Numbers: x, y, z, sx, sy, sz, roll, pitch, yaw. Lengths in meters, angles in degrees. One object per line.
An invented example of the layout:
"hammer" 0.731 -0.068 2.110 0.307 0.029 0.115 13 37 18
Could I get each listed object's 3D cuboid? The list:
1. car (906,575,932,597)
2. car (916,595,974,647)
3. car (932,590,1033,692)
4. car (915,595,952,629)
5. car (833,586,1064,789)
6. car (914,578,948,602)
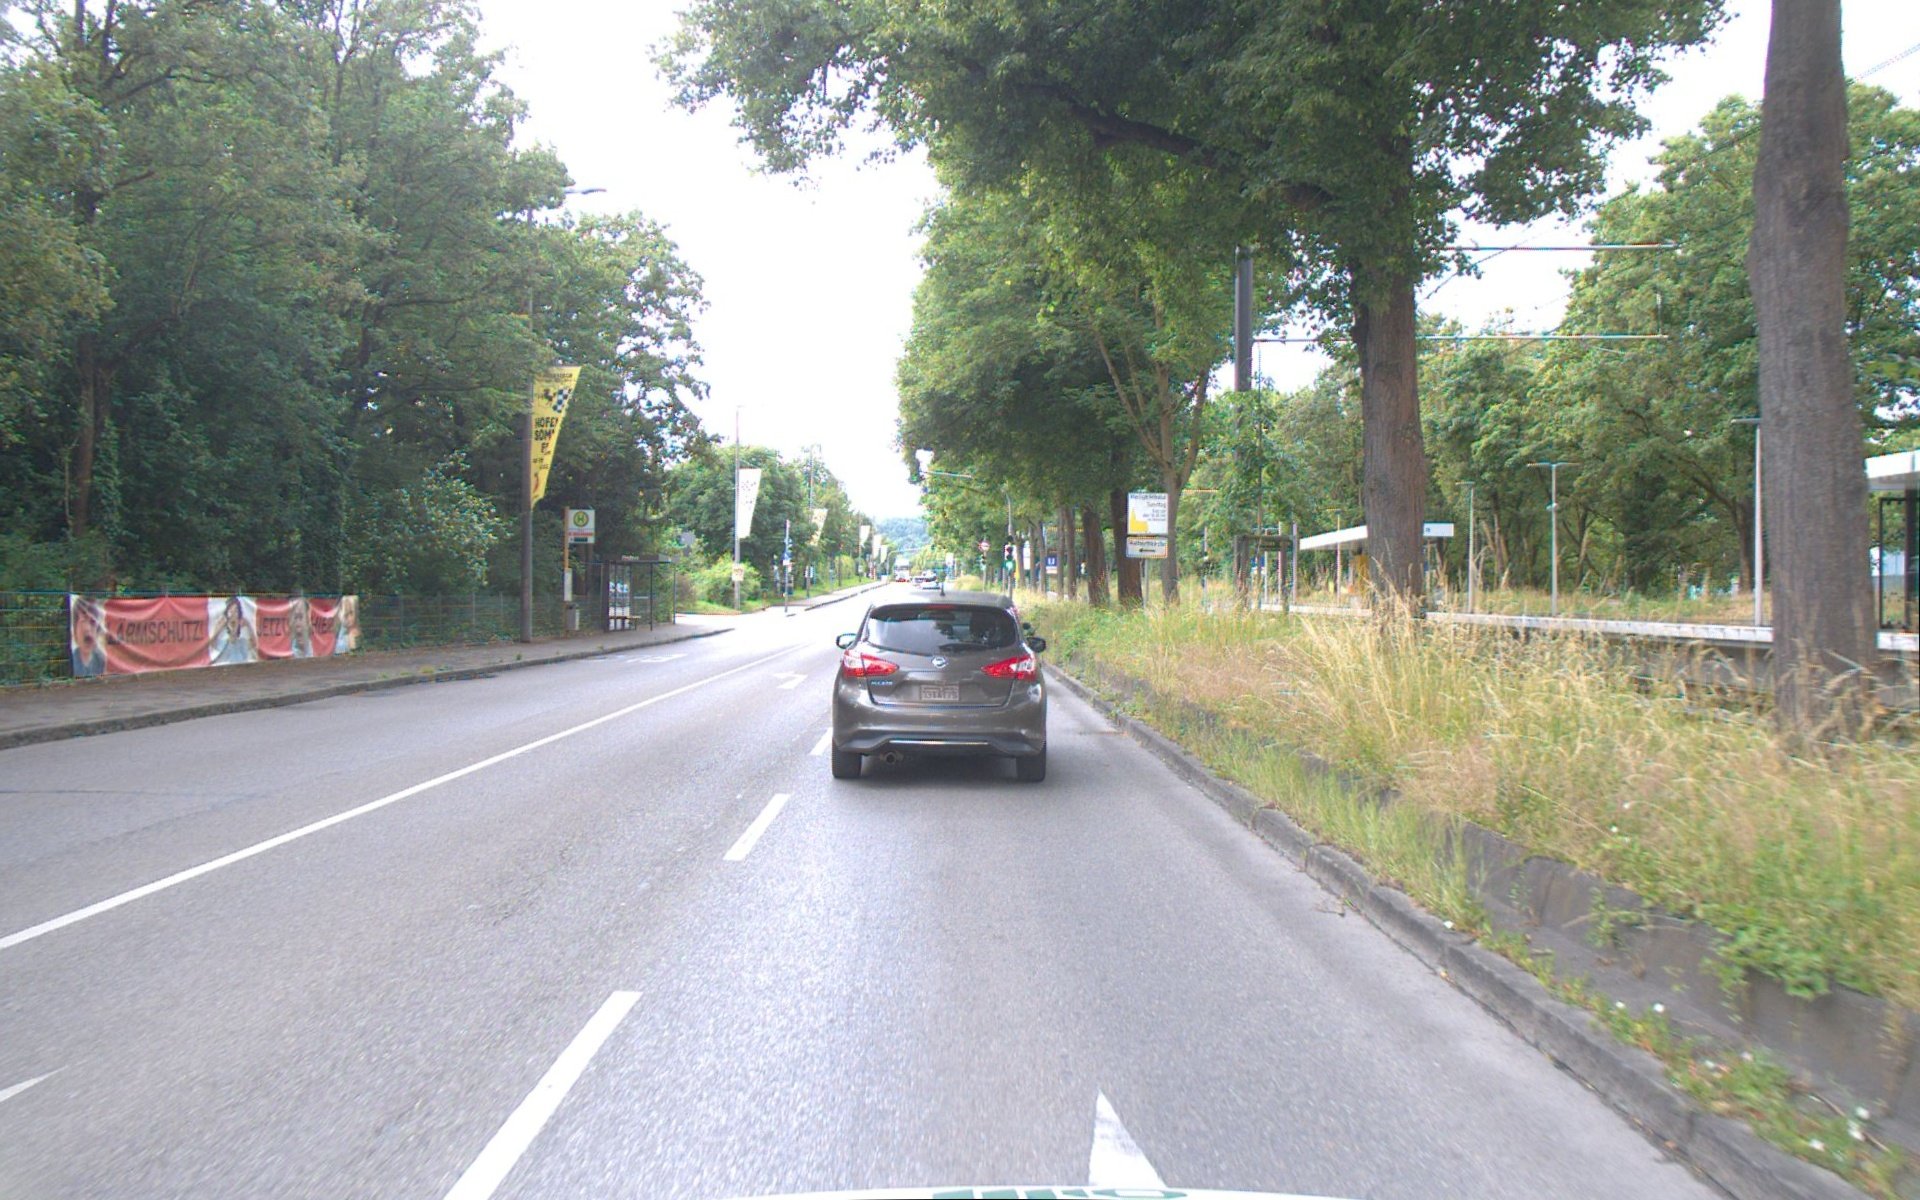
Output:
"car" -3.215 -1.101 129.764 1.953 1.601 3.999 2 0 -1
"car" -0.452 0.607 49.340 1.657 1.466 3.541 1 0 -1
"car" 0.300 0.591 26.083 1.471 1.466 3.541 1 0 -1
"car" -1.215 0.527 75.420 1.657 1.466 3.541 1 0 -1
"car" -0.098 0.664 14.470 1.747 1.533 3.695 1 0 0
"car" -1.756 -0.594 99.292 1.953 1.344 3.999 2 0 -1
